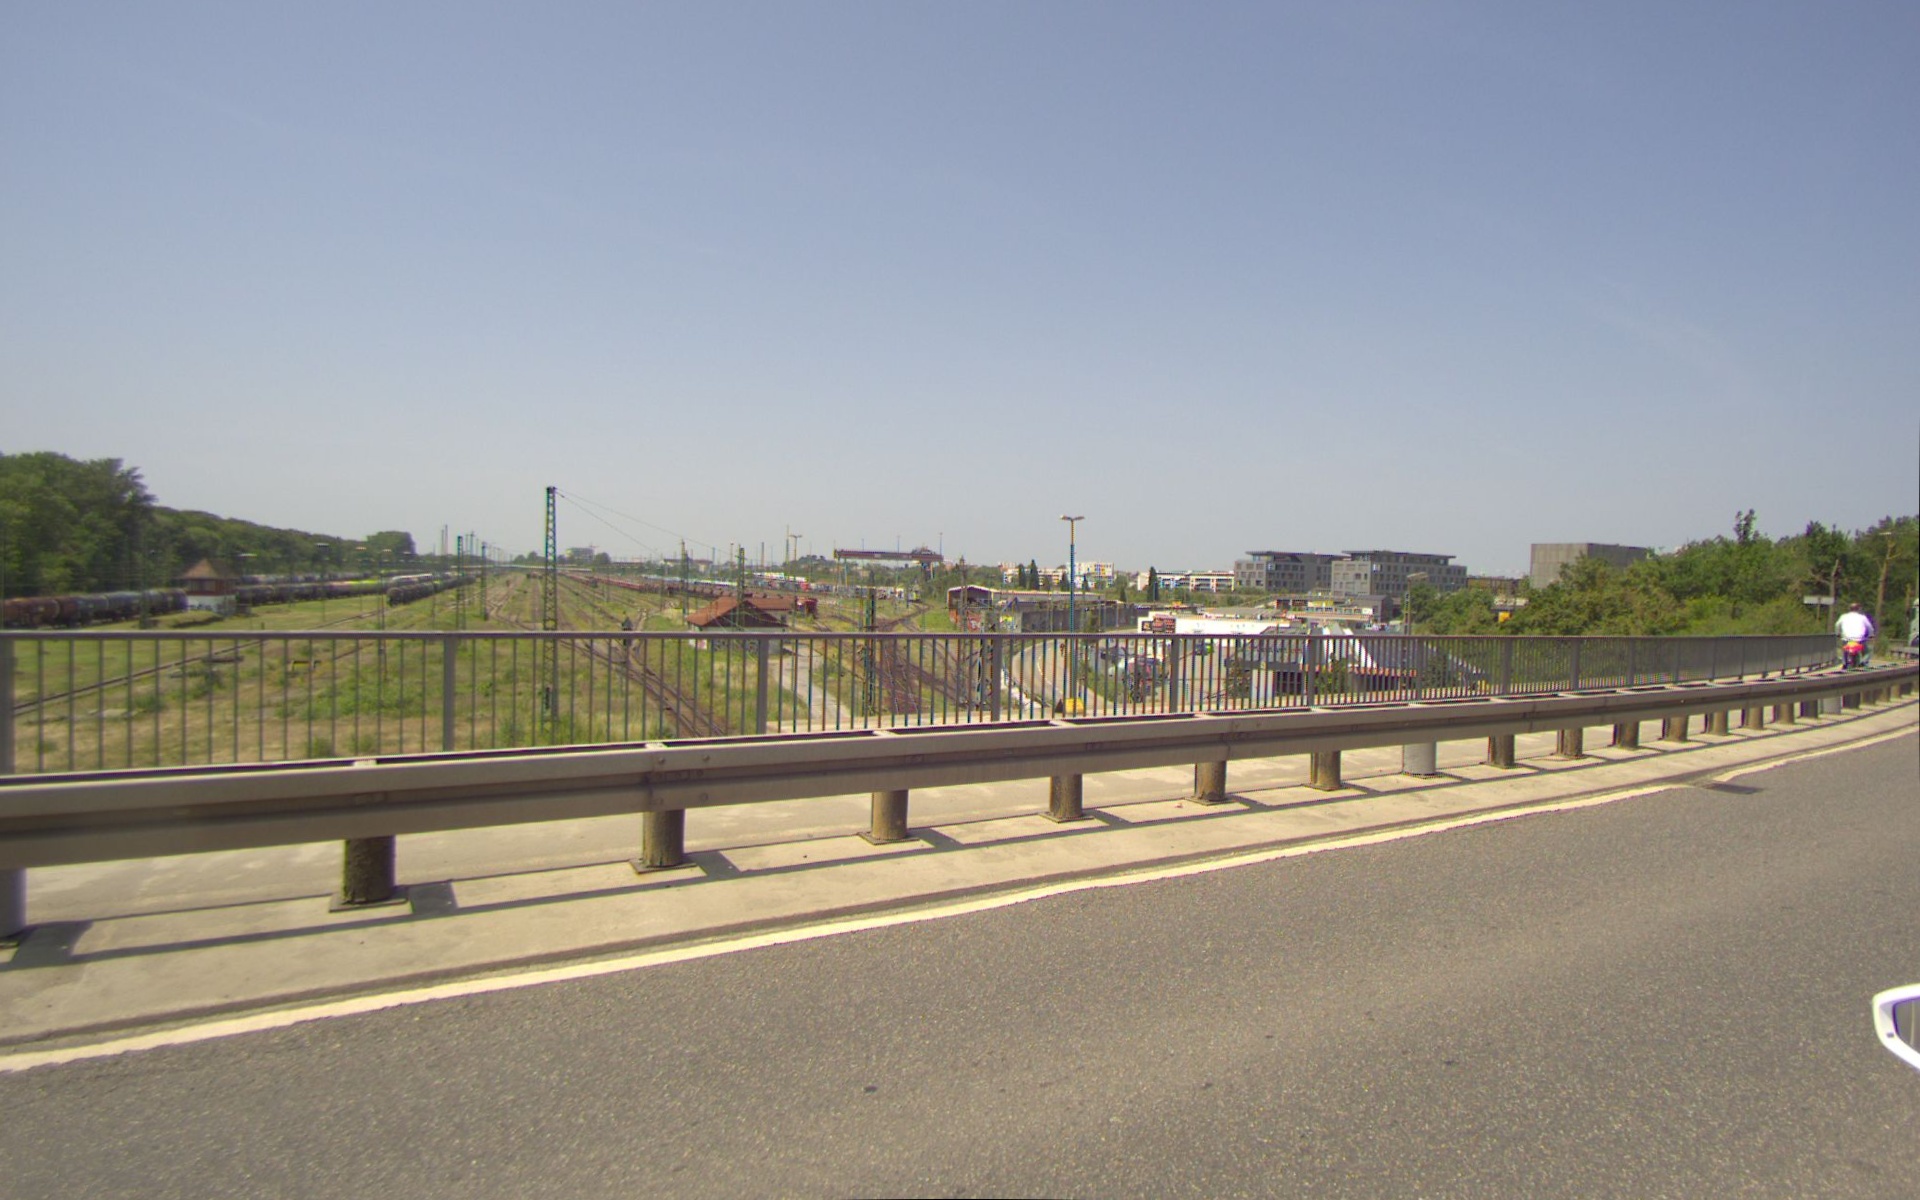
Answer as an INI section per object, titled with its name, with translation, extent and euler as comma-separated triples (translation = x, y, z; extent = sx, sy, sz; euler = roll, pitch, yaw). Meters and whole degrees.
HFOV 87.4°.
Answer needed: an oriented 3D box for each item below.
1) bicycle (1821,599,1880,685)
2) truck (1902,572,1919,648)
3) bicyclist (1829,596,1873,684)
[bicycle]
translation = 19.870, 0.902, 22.394
extent = 2.163, 1.826, 0.692
euler = 0, 1, -41
[truck]
translation = 59.198, 0.594, 59.710
extent = 3.524, 4.500, 6.496
euler = 1, 1, 34
[bicyclist]
translation = 19.738, 0.874, 22.252
extent = 0.707, 1.911, 0.618
euler = 0, 1, -41
